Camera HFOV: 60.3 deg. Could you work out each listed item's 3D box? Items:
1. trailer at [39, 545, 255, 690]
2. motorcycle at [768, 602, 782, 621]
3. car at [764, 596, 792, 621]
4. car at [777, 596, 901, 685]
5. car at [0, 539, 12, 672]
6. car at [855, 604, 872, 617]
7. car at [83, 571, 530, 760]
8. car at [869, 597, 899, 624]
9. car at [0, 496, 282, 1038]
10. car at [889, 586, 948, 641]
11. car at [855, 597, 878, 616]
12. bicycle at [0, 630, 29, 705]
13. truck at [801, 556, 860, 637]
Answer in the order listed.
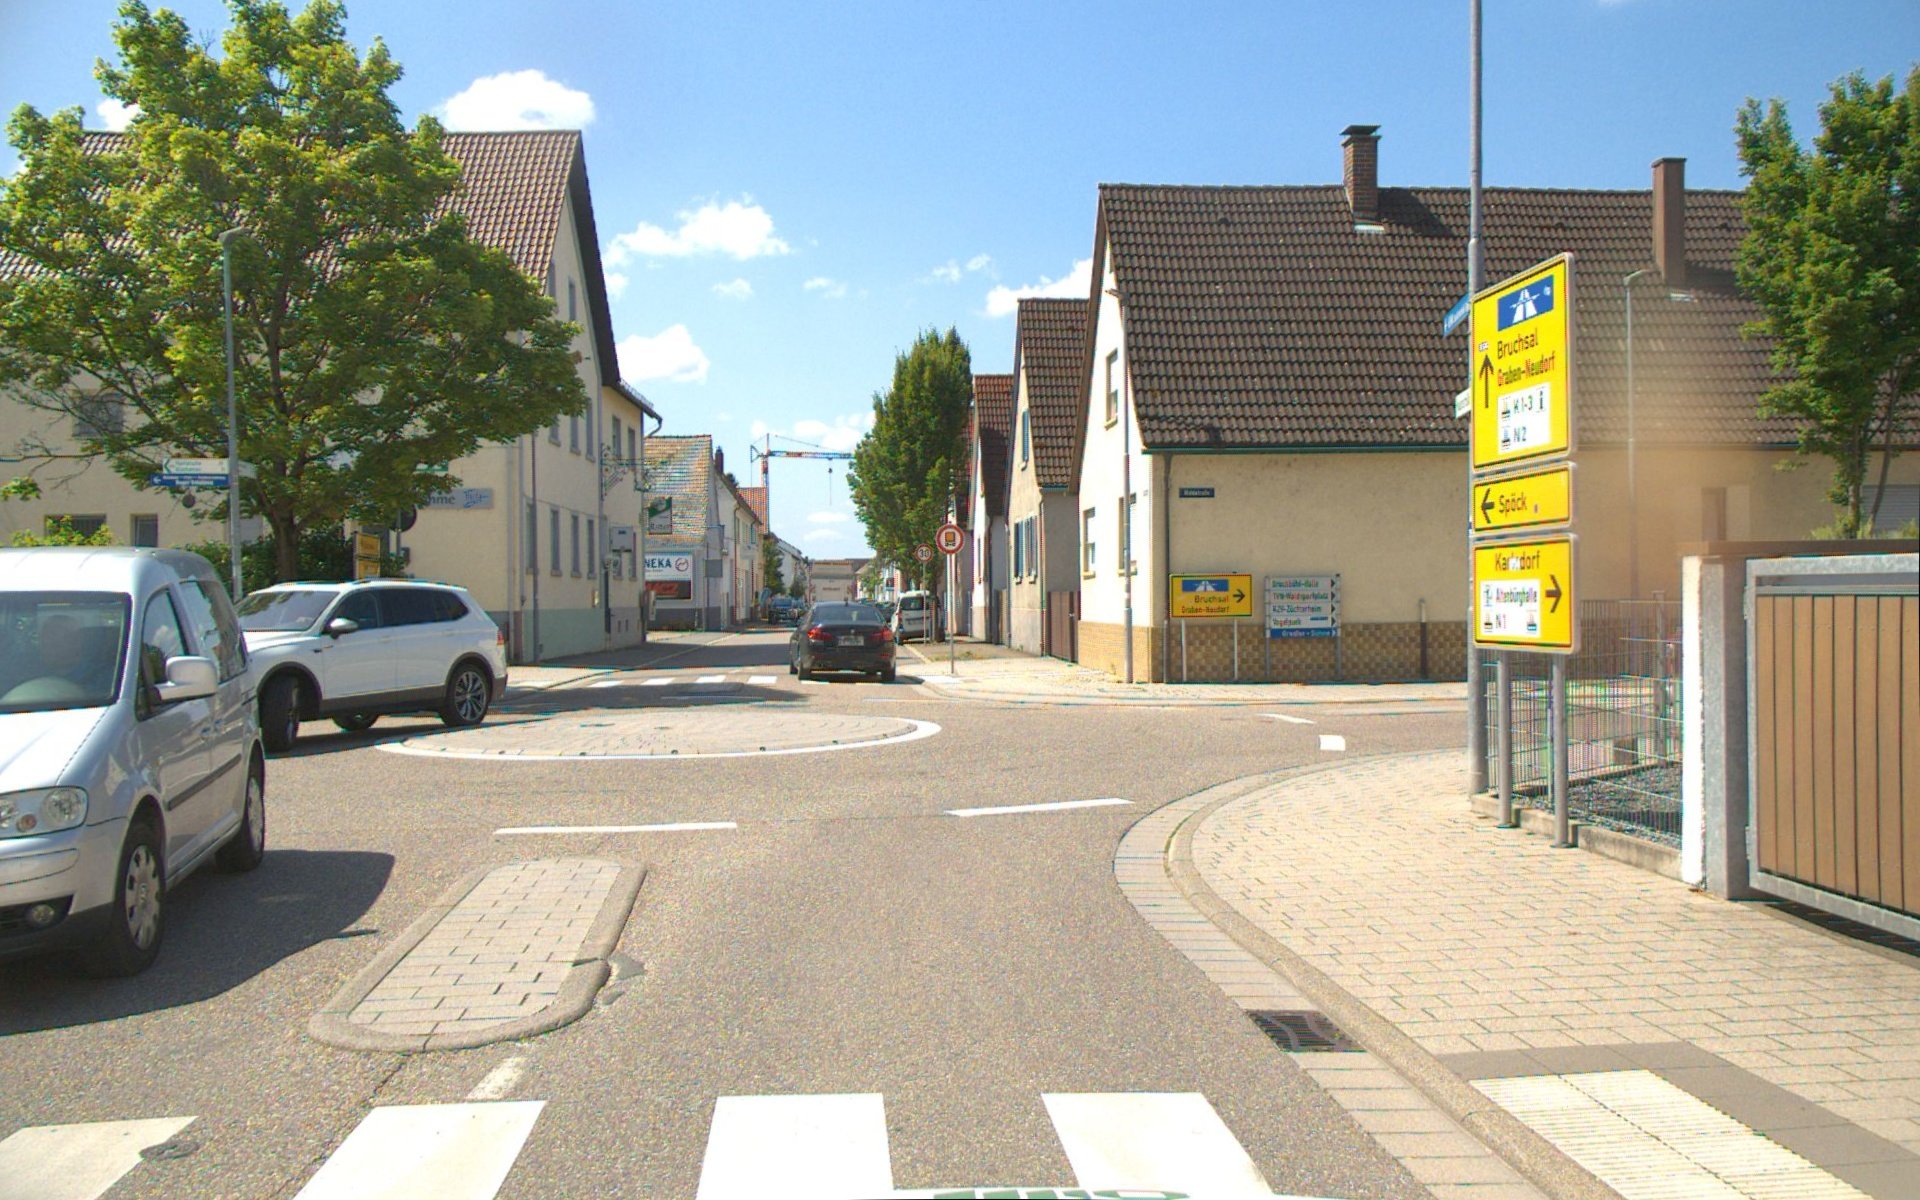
[{"bbox_3d":[-14.445,0.289,29.702,1.842,2.376,4.520,1,0,-4],"label":"trailer"},{"bbox_3d":[-11.735,0.722,105.035,0.830,1.190,2.466,1,-1,-5],"label":"motorcycle"},{"bbox_3d":[-11.963,0.533,108.888,1.774,1.617,3.996,0,0,-5],"label":"car"},{"bbox_3d":[-2.431,0.729,32.251,1.868,1.591,4.463,0,0,-12],"label":"car"},{"bbox_3d":[-19.582,0.103,29.906,1.898,2.612,5.643,1,0,-4],"label":"car"},{"bbox_3d":[-10.036,1.058,172.187,1.685,1.291,4.153,0,0,-4],"label":"car"},{"bbox_3d":[-6.768,0.595,17.723,1.828,1.740,4.542,-1,0,22],"label":"car"},{"bbox_3d":[-4.355,0.583,95.095,1.685,1.487,4.154,0,0,-3],"label":"car"},{"bbox_3d":[-4.417,0.606,7.656,1.743,1.853,4.423,-2,0,-15],"label":"car"},{"bbox_3d":[-1.500,0.455,58.308,1.686,1.821,4.138,-2,0,-6],"label":"car"},{"bbox_3d":[-6.973,0.491,123.421,1.685,1.379,4.153,0,0,-4],"label":"car"},{"bbox_3d":[-14.367,1.011,24.636,0.393,1.021,1.974,-1,2,-16],"label":"bicycle"},{"bbox_3d":[-7.333,-0.156,94.641,3.082,4.325,9.296,1,-1,-3],"label":"truck"}]
